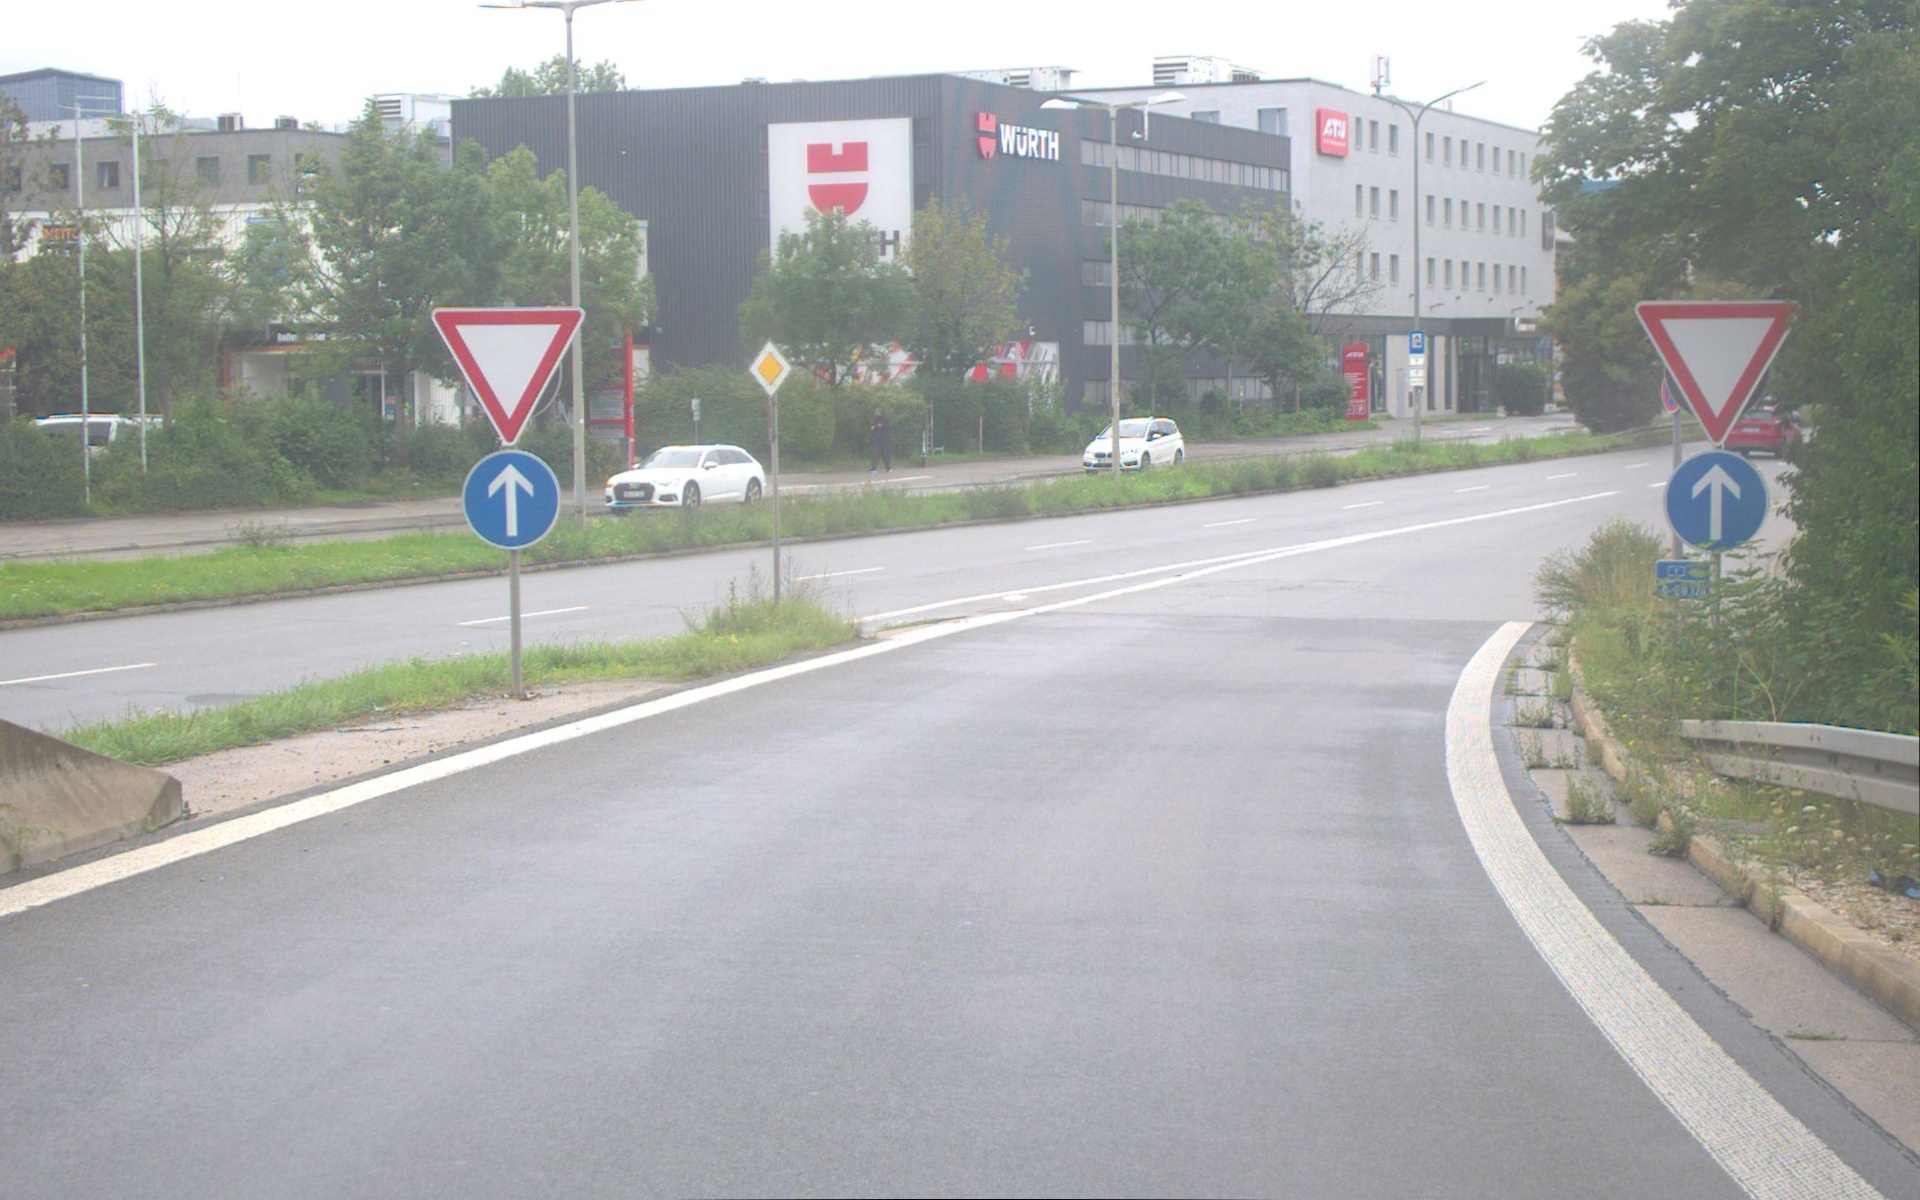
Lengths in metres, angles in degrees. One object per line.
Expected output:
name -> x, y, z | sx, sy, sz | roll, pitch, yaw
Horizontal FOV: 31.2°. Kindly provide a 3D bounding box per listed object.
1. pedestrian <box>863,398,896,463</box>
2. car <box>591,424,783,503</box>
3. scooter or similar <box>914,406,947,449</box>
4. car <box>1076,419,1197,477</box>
pedestrian -> -2.297, -4.839, 97.971 | 0.623, 1.823, 0.816 | 1, 5, 24
car -> -5.940, -3.017, 75.429 | 1.996, 1.566, 5.114 | 0, 4, 24
scooter or similar -> -0.870, -5.126, 102.117 | 0.446, 1.223, 1.386 | 1, 4, 22
car -> 5.156, -4.433, 99.920 | 1.996, 1.566, 4.569 | 0, 4, 24
